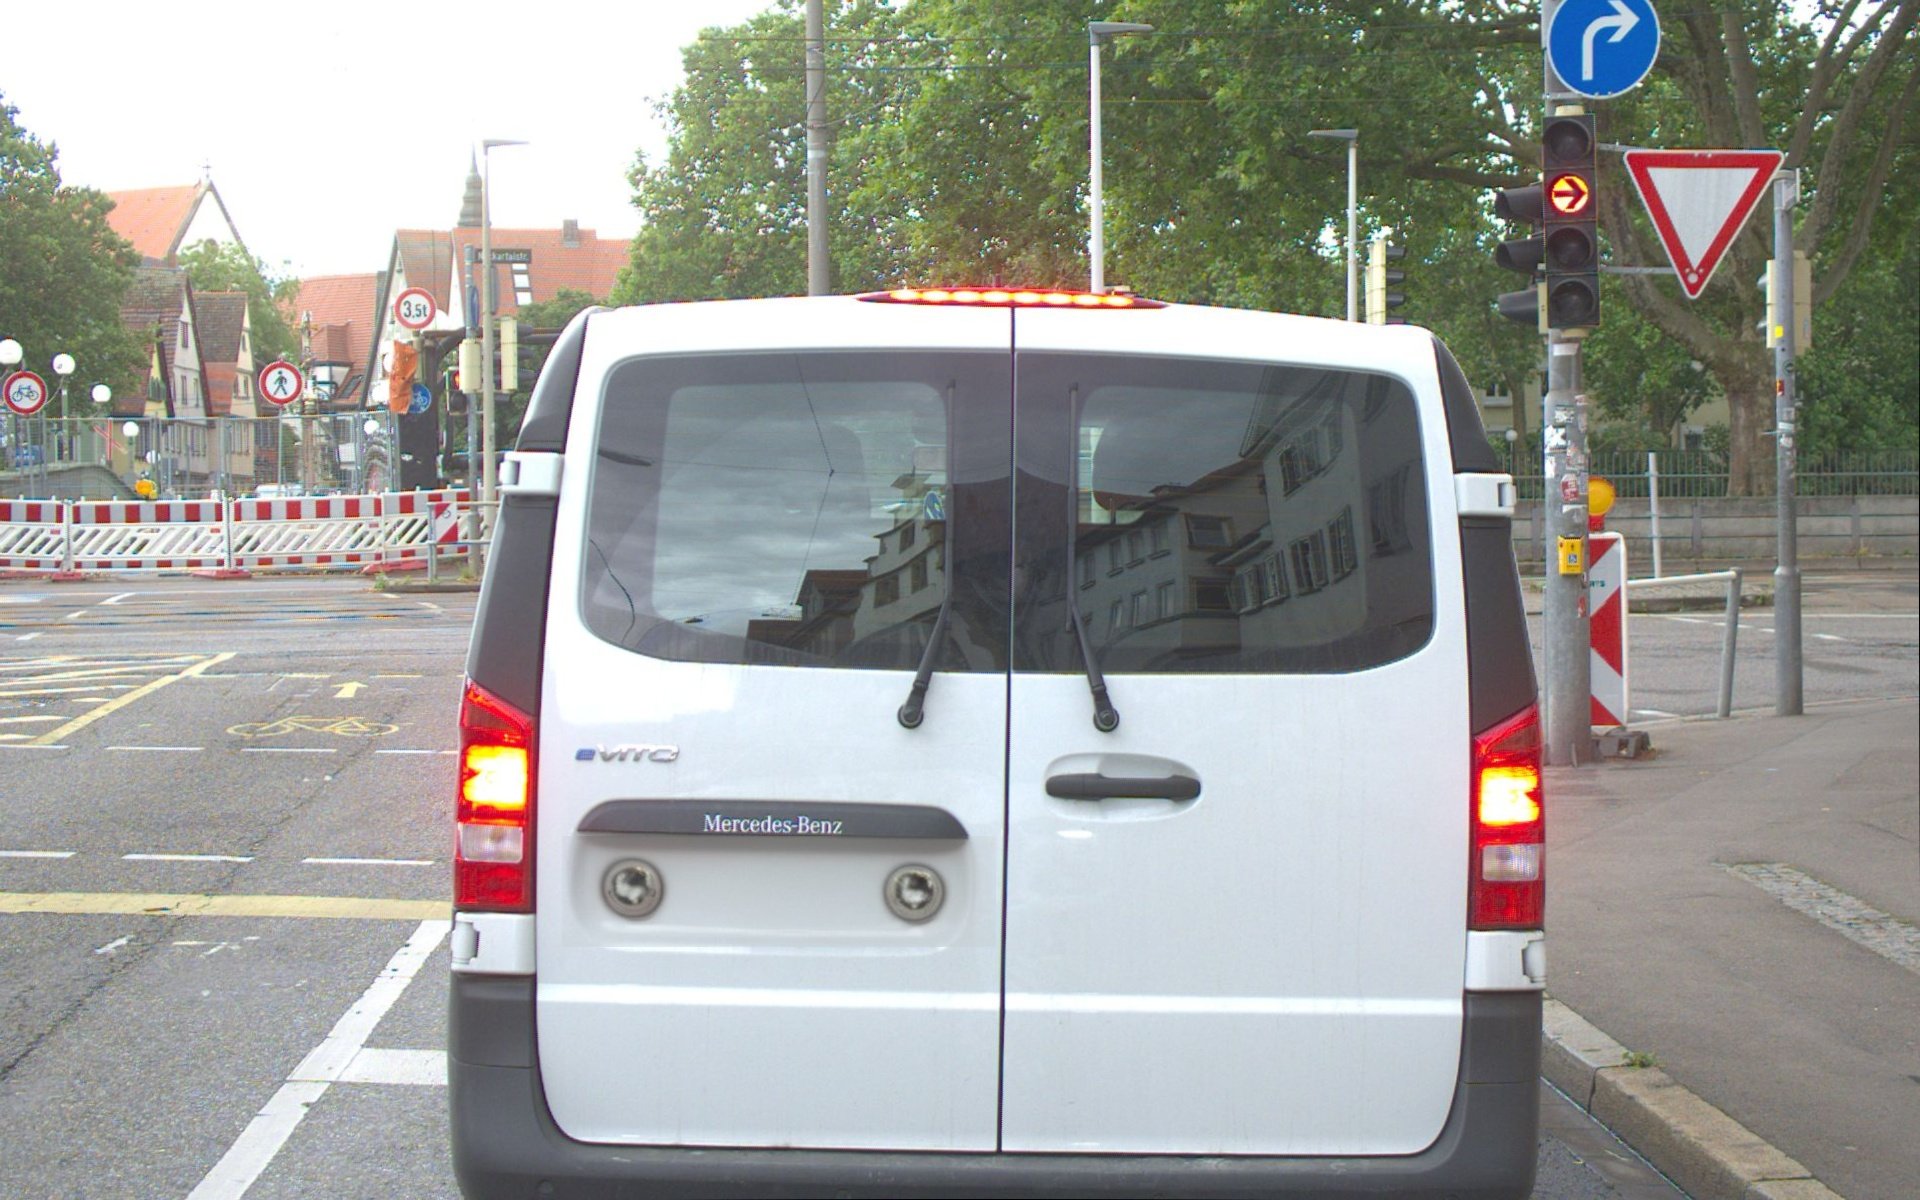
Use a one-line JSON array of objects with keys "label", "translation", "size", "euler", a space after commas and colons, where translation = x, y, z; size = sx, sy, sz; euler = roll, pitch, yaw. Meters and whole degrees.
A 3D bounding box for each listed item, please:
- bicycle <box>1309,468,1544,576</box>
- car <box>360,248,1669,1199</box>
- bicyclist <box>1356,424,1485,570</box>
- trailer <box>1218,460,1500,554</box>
[{"label": "bicycle", "translation": [6.961, -1.169, 51.381], "size": [3.144, 1.564, 1.471], "euler": [-1, 1, -14]}, {"label": "car", "translation": [0.003, 0.329, 7.403], "size": [1.993, 1.916, 4.250], "euler": [1, 3, -2]}, {"label": "bicyclist", "translation": [6.872, -1.540, 51.354], "size": [1.563, 2.148, 1.248], "euler": [-1, 1, -14]}, {"label": "trailer", "translation": [5.207, -1.219, 45.079], "size": [3.200, 1.154, 2.001], "euler": [-1, 1, -11]}]
